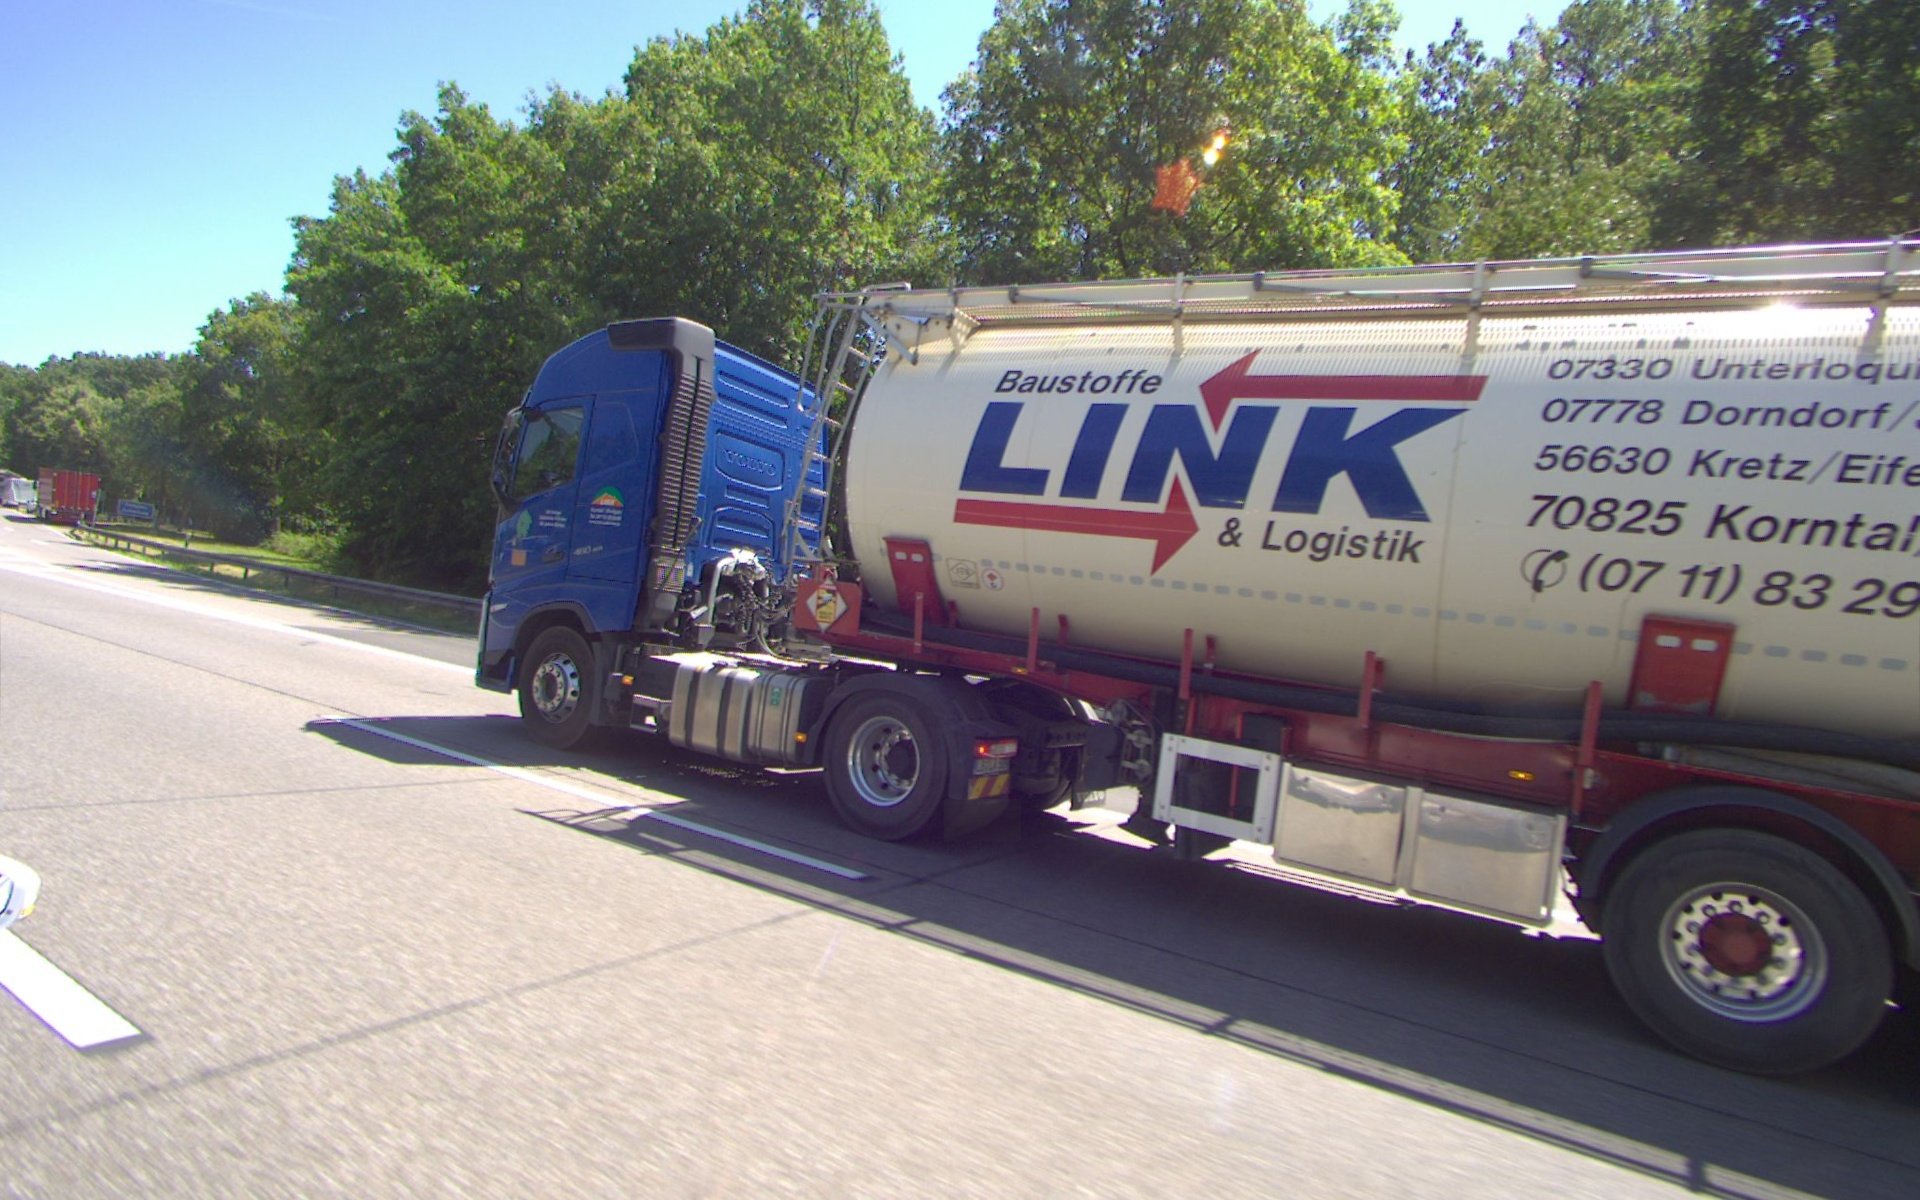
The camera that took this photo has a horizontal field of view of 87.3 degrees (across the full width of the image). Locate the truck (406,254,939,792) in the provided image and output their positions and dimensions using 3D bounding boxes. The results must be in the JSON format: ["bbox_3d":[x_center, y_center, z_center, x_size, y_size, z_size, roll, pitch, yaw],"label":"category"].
[{"bbox_3d":[-2.767,-0.658,9.679,4.004,4.085,2.453,7,-1,32],"label":"truck"}]

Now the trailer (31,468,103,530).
[{"bbox_3d":[-67.859,-7.669,76.327,12.720,3.925,2.972,6,0,44],"label":"trailer"}]

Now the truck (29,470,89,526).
[{"bbox_3d":[-73.034,-8.224,81.499,6.334,3.929,2.972,7,0,45],"label":"truck"}]

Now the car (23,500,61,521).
[{"bbox_3d":[-83.022,-8.111,90.976,4.964,1.469,1.991,6,-1,42],"label":"car"}]

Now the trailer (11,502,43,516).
[{"bbox_3d":[-88.513,-8.645,95.412,3.945,0.970,1.773,6,-1,42],"label":"trailer"}]

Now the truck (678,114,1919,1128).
[{"bbox_3d":[3.094,-0.011,6.000,10.367,4.091,2.447,6,-1,32],"label":"truck"}]

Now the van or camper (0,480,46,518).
[{"bbox_3d":[-94.315,-10.167,100.855,6.901,3.274,2.995,6,0,41],"label":"van or camper"}]

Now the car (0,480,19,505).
[{"bbox_3d":[-105.190,-11.848,110.617,4.715,2.469,1.989,7,0,43],"label":"car"}]
